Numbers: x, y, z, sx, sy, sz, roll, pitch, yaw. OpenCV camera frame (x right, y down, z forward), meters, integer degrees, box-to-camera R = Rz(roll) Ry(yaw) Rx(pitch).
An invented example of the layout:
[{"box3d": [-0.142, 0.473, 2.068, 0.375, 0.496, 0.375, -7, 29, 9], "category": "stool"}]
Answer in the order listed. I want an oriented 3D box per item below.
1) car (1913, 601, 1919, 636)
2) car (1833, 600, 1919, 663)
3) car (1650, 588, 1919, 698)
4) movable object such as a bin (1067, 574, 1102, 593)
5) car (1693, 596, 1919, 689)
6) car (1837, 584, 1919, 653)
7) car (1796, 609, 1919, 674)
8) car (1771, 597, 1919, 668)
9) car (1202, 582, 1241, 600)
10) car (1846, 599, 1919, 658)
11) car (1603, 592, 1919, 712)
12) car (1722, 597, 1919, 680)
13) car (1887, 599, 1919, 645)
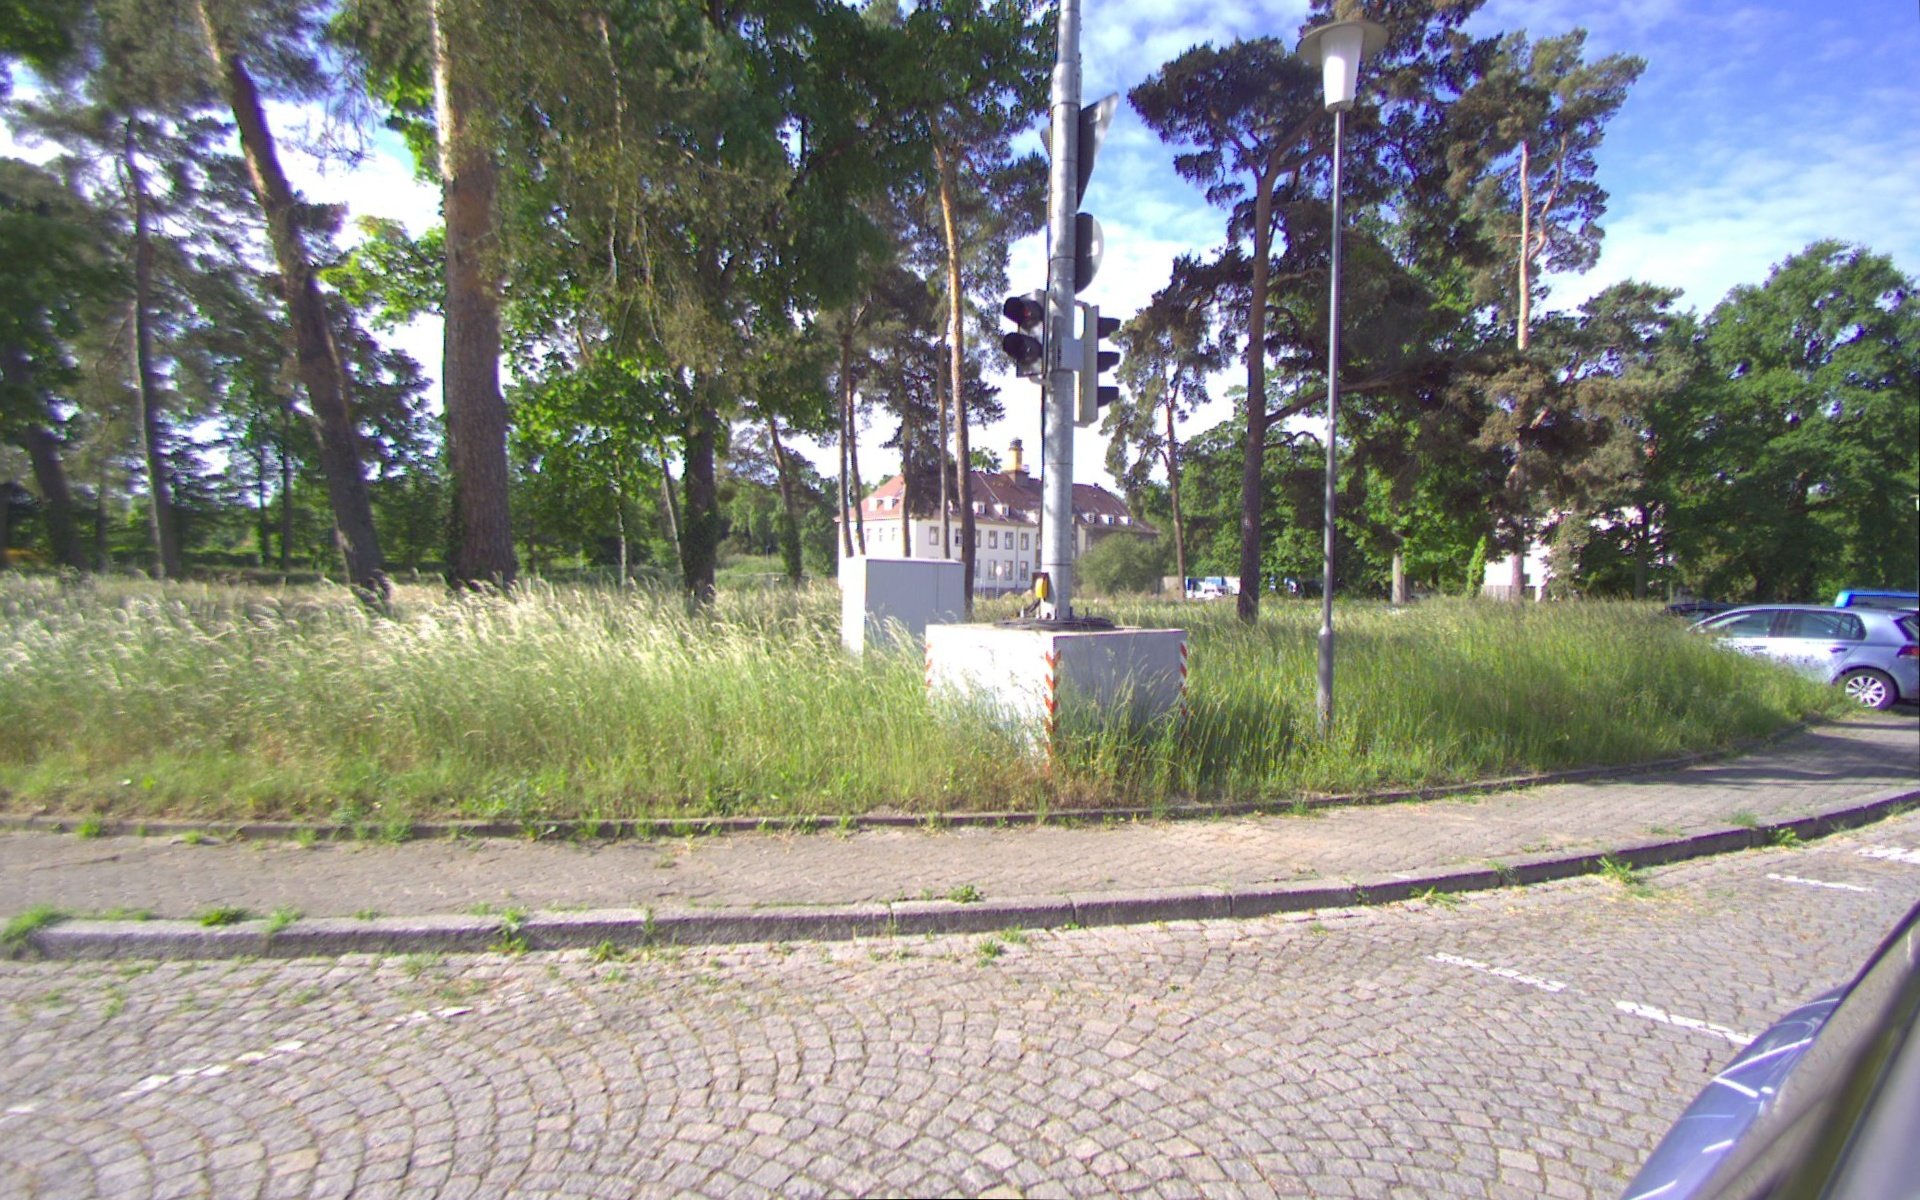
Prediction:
[{"box3d": [43.955, 0.886, 43.583, 1.724, 1.537, 3.998, 1, 1, -38], "category": "car"}, {"box3d": [24.202, 0.800, 25.049, 1.478, 1.509, 3.630, 1, 1, -31], "category": "car"}, {"box3d": [14.441, 0.667, 16.931, 1.796, 1.535, 4.500, 0, 2, -44], "category": "car"}, {"box3d": [16.500, -2.182, 133.620, 4.905, 2.352, 1.995, 0, 1, -45], "category": "movable object such as a bin"}, {"box3d": [16.495, 0.759, 18.745, 1.794, 1.419, 4.420, 0, 3, -41], "category": "car"}, {"box3d": [29.977, 0.582, 30.762, 1.964, 2.039, 4.726, 1, 1, -39], "category": "car"}, {"box3d": [20.010, 0.878, 21.440, 1.395, 1.271, 3.354, 0, 1, -41], "category": "car"}, {"box3d": [21.492, 0.745, 23.627, 1.522, 1.509, 3.776, 0, 1, -41], "category": "car"}, {"box3d": [30.032, -1.034, 116.155, 4.688, 2.039, 1.998, 1, 1, -40], "category": "car"}, {"box3d": [26.093, 0.776, 27.151, 1.423, 1.509, 3.265, 1, 1, -38], "category": "car"}, {"box3d": [12.392, 0.686, 15.401, 1.838, 1.478, 4.023, 0, 2, -41], "category": "car"}, {"box3d": [17.974, 0.748, 20.382, 1.632, 1.410, 3.915, 0, 2, -41], "category": "car"}, {"box3d": [36.478, 0.834, 36.664, 1.724, 1.660, 3.998, 1, 1, -38], "category": "car"}]
